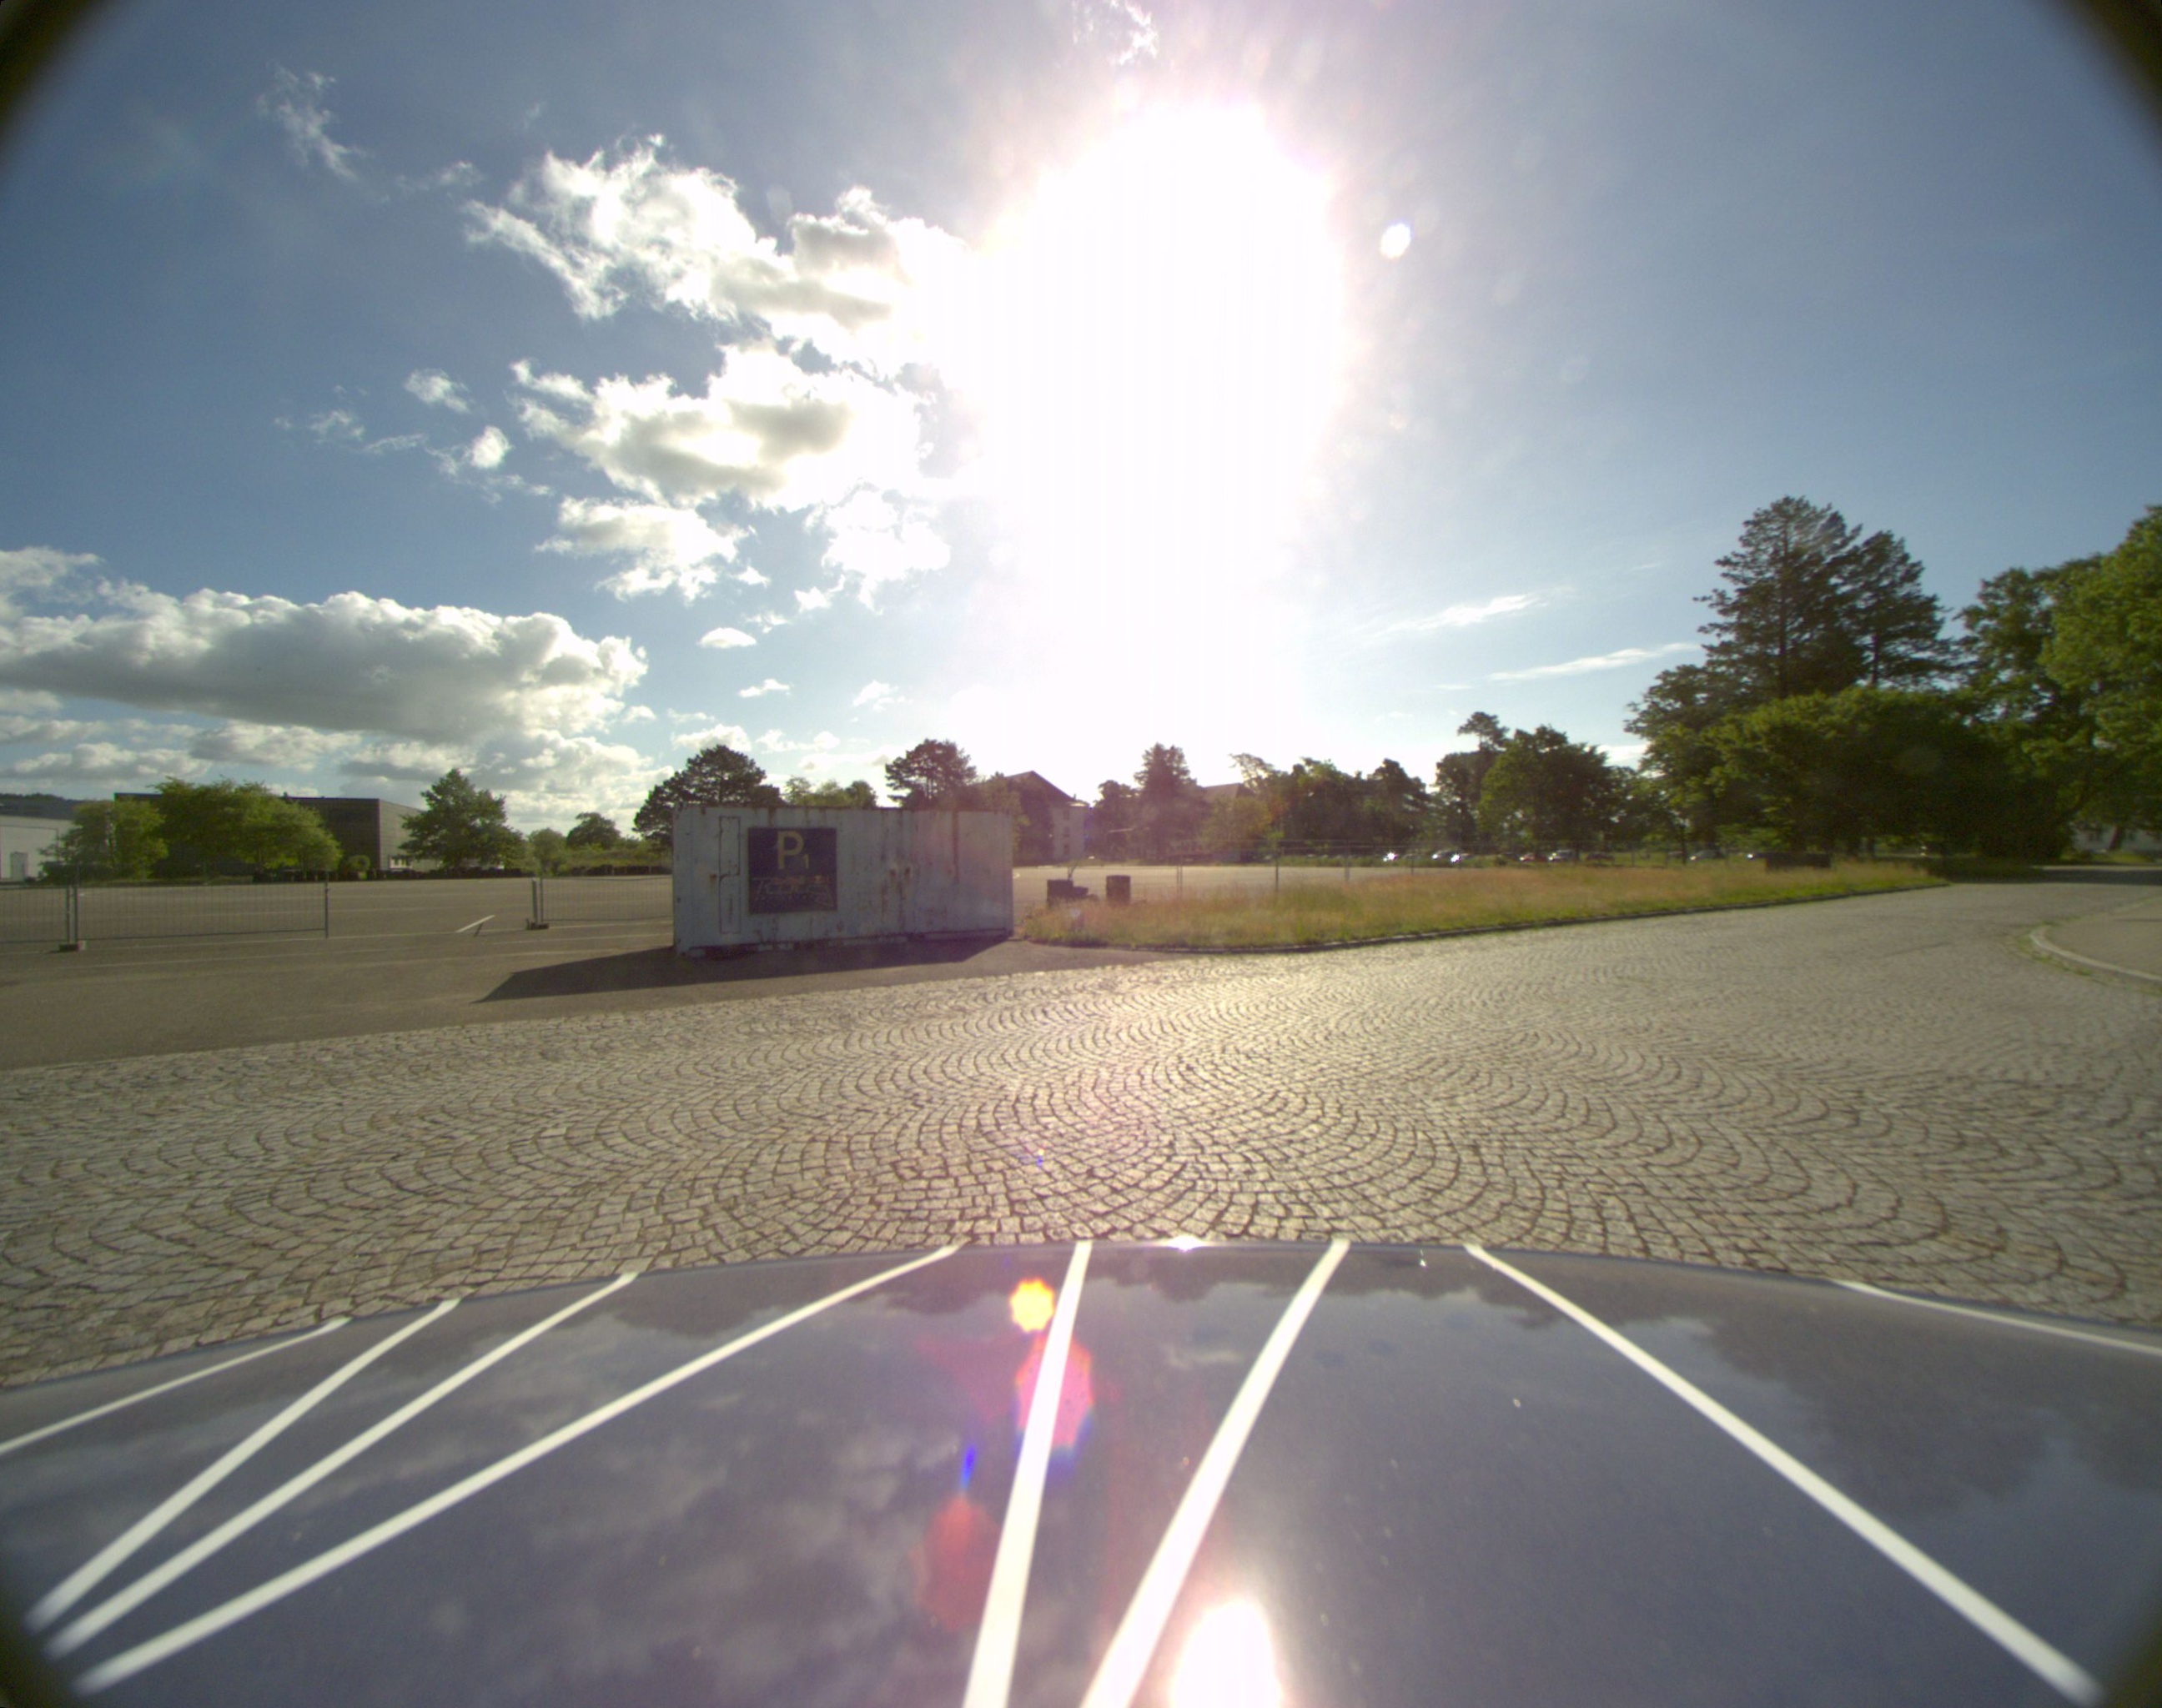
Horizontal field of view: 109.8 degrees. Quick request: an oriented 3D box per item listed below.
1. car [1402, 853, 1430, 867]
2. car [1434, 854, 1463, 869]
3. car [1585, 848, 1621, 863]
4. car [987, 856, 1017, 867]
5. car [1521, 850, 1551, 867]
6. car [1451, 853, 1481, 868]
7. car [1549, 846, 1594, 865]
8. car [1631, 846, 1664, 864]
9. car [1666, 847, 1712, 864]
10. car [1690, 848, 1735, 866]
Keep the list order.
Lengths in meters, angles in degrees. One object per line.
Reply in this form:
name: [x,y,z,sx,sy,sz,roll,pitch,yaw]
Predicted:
car: [47.876,0.833,108.604,3.857,2.002,1.739,-1,0,-29]
car: [50.190,0.959,103.805,3.857,2.002,1.739,-1,0,-29]
car: [60.300,0.183,87.727,4.006,1.642,1.995,-1,0,-31]
car: [-11.949,1.128,114.492,4.007,1.573,1.995,-1,0,-35]
car: [56.432,0.542,94.196,3.625,2.002,1.738,-1,0,-31]
car: [51.545,0.870,101.757,3.858,2.002,1.738,-1,0,-31]
car: [58.977,0.221,91.333,6.043,2.001,1.996,-2,0,-30]
car: [63.149,0.106,84.641,3.625,2.002,1.738,-1,0,-31]
car: [64.890,0.153,81.127,4.355,1.828,2.242,-1,0,-27]
car: [65.381,0.281,78.675,4.356,1.828,2.242,-1,0,-30]
